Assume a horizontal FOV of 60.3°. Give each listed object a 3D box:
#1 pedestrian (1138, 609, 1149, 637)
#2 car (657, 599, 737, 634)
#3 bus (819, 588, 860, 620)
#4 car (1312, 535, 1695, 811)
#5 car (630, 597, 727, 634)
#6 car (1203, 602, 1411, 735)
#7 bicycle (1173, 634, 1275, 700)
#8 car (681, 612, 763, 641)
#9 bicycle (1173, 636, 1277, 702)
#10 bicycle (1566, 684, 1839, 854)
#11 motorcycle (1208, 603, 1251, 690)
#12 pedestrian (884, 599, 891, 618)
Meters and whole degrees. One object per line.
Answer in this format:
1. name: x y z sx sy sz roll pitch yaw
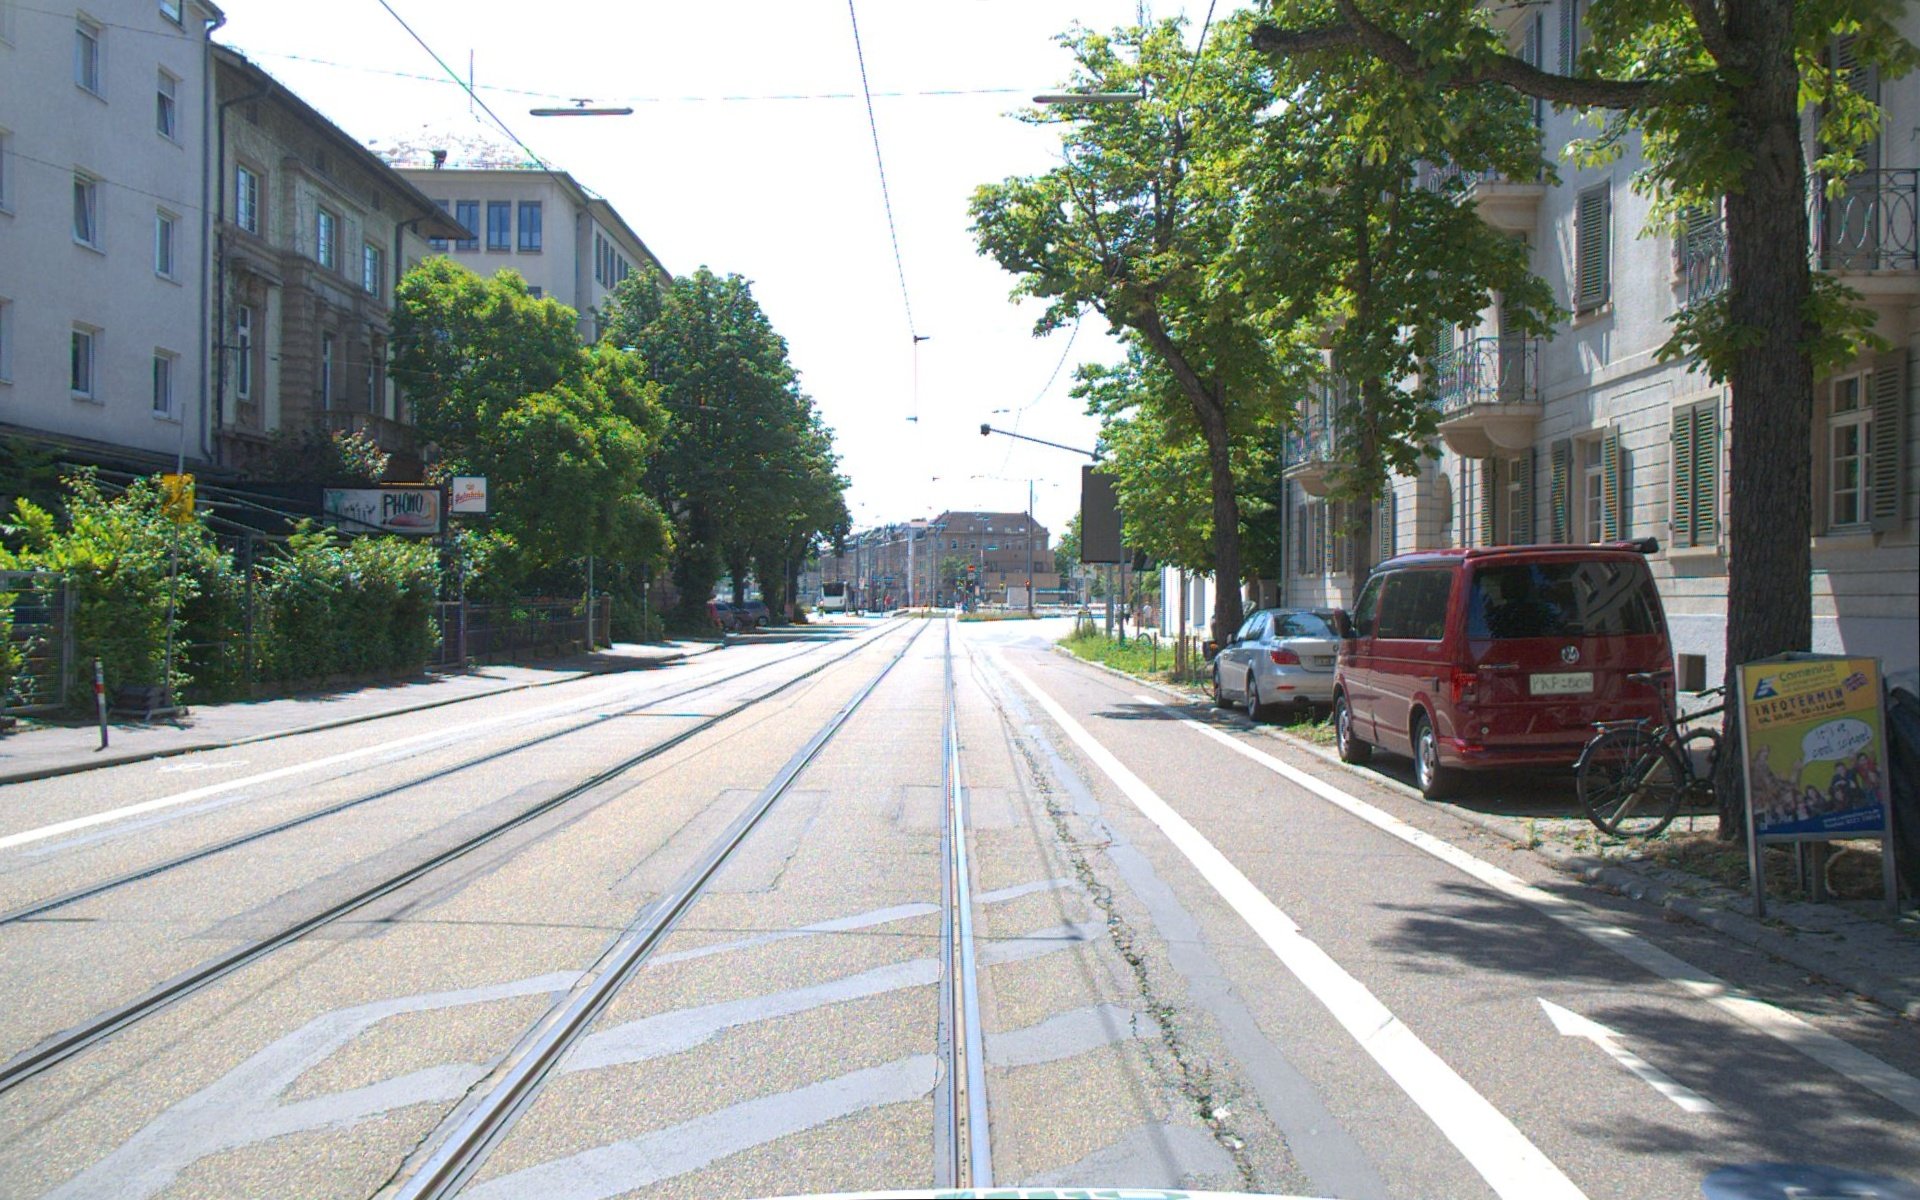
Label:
1. pedestrian: 11.411 1.432 102.900 0.646 1.676 0.625 0 0 5
2. car: -12.194 0.779 76.674 3.301 1.542 1.655 2 -1 -27
3. bus: -12.698 0.444 175.713 2.948 3.213 17.497 1 0 0
4. car: 4.638 0.568 14.982 1.821 2.049 4.975 1 0 0
5. car: -13.458 0.734 79.236 4.262 1.612 1.653 2 -1 -30
6. car: 4.630 0.854 22.785 1.821 1.605 4.877 1 0 0
7. bicycle: 4.368 1.105 27.393 1.624 1.033 0.372 1 3 0
8. car: -12.145 1.344 84.412 3.873 1.398 1.655 0 0 -26
9. bicycle: 4.299 1.118 26.894 1.624 1.033 0.371 1 -1 0
10. bicycle: 4.817 1.083 10.742 1.664 1.039 0.364 0 -1 -7
11. motorcycle: 5.022 0.831 30.723 0.729 1.532 2.561 0 0 11
12. pedestrian: -7.287 0.840 165.797 0.660 1.943 0.639 0 0 -10
